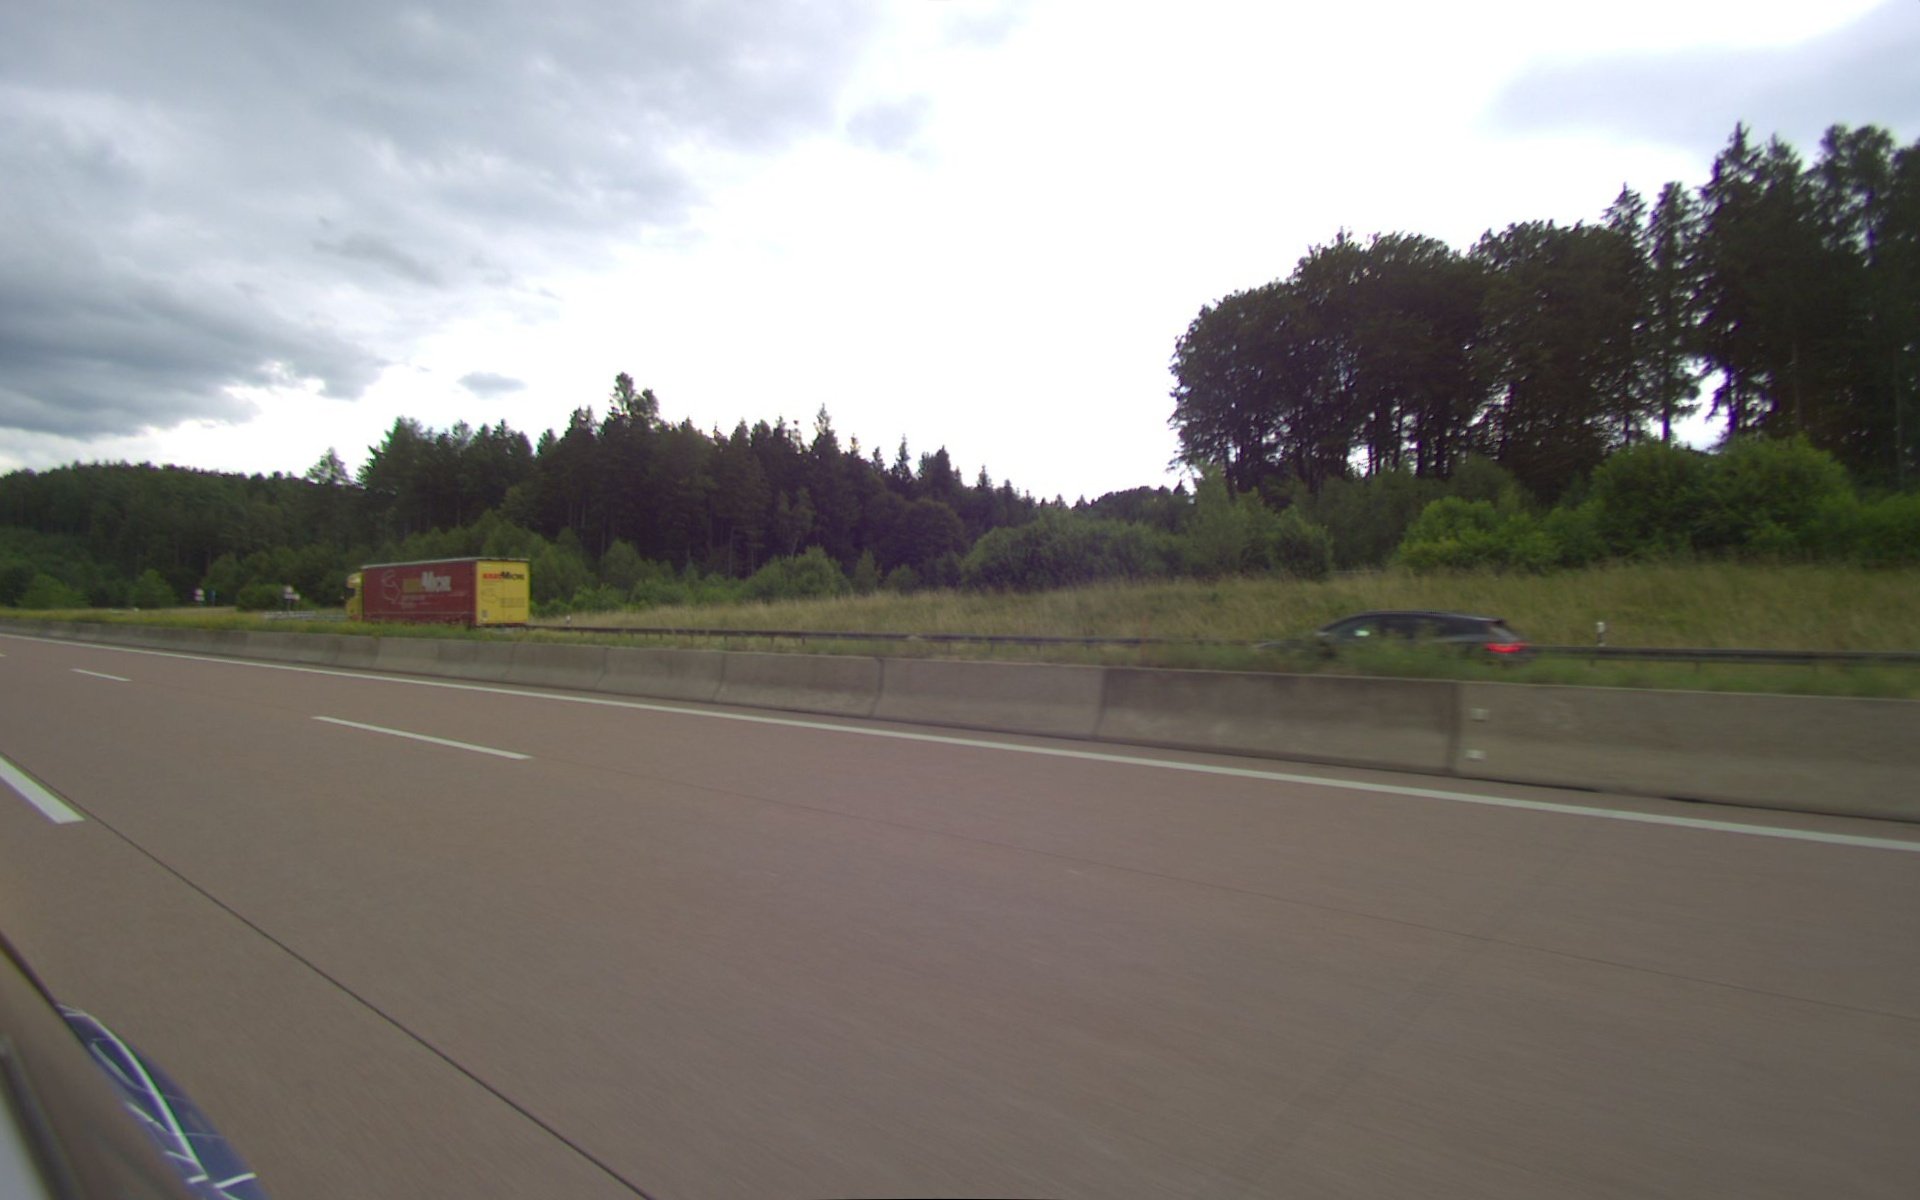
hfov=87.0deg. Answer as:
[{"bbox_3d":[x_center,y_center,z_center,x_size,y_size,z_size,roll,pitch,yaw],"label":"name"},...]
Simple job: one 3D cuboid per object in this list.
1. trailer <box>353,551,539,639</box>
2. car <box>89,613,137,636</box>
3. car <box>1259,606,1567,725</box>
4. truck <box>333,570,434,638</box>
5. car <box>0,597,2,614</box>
[{"bbox_3d":[-26.842,-0.094,52.219,14.516,4.072,3.003,-2,-1,40],"label":"trailer"},{"bbox_3d":[-54.788,1.574,65.454,4.027,1.413,1.723,0,-1,40],"label":"car"},{"bbox_3d":[7.419,0.968,16.831,4.376,1.650,1.745,1,1,40],"label":"car"},{"bbox_3d":[-32.390,0.255,56.789,6.051,3.609,2.982,-2,-1,39],"label":"truck"},{"bbox_3d":[-91.161,0.544,94.881,3.409,1.579,1.552,1,1,39],"label":"car"}]
